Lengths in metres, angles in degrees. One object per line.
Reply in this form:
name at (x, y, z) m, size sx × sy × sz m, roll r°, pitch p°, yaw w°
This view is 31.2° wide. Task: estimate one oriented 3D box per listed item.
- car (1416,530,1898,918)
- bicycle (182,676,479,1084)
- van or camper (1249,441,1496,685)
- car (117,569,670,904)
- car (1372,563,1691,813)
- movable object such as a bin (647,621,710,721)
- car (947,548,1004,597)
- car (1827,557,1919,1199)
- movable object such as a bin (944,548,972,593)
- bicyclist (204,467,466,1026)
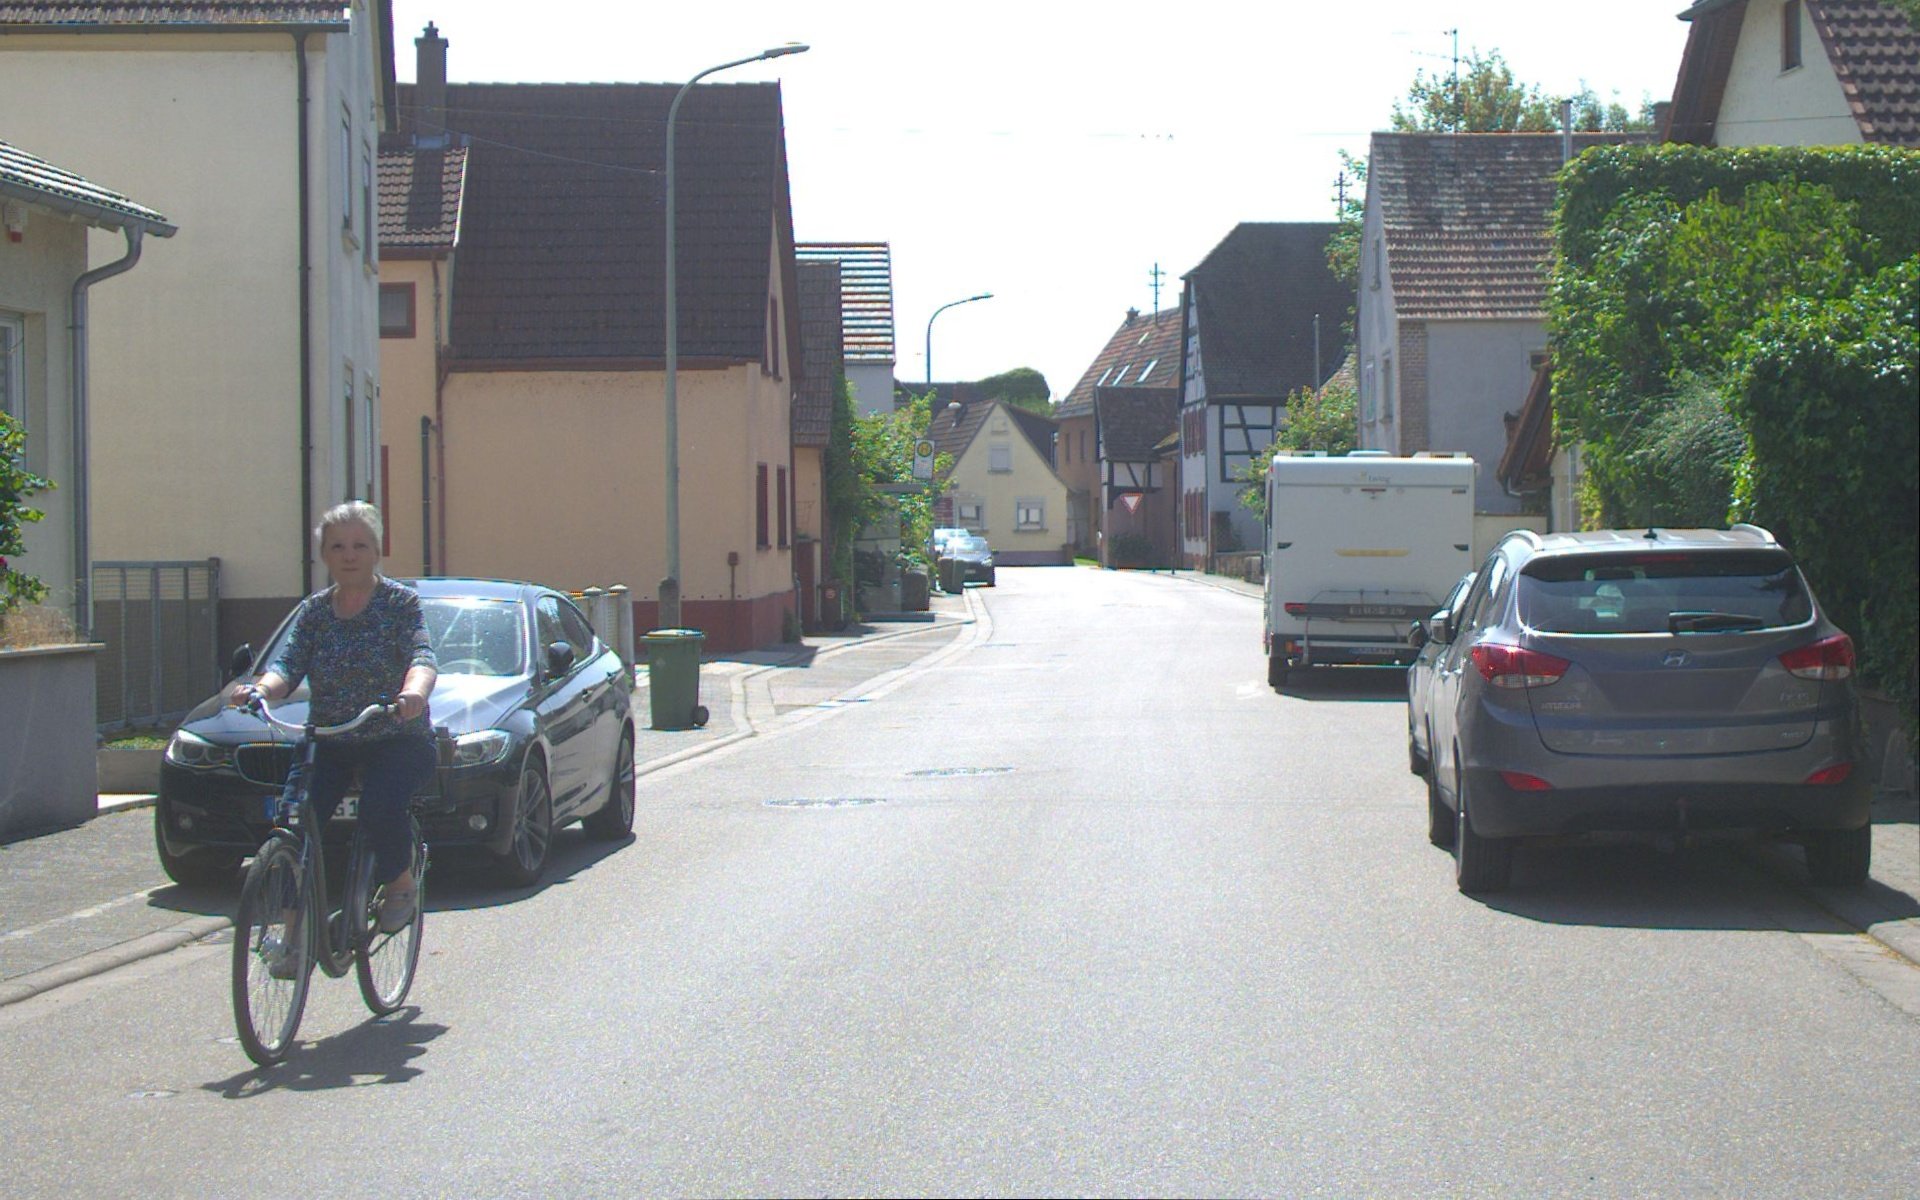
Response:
car at (3.252, 0.490, 16.824) m, size 1.794 × 1.625 × 4.360 m, roll -1°, pitch 1°, yaw 5°
bicycle at (-2.033, 0.865, 11.329) m, size 0.589 × 1.144 × 1.949 m, roll -2°, pitch 1°, yaw 0°
van or camper at (4.789, -0.441, 40.589) m, size 2.522 × 2.687 × 4.555 m, roll -1°, pitch 1°, yaw 3°
car at (-2.833, 0.615, 18.319) m, size 1.844 × 1.521 × 4.765 m, roll 0°, pitch 1°, yaw 4°
car at (3.695, 0.515, 22.827) m, size 1.712 × 1.459 × 4.064 m, roll -1°, pitch 1°, yaw 5°
movable object such as a bin at (-2.741, 0.687, 33.469) m, size 0.539 × 0.946 × 0.553 m, roll 0°, pitch 1°, yaw 3°
car at (0.477, -0.854, 104.405) m, size 1.512 × 1.431 × 3.511 m, roll -1°, pitch 1°, yaw 3°
car at (2.849, 0.674, 5.683) m, size 1.819 × 1.503 × 4.581 m, roll -1°, pitch 1°, yaw 2°
movable object such as a bin at (-0.046, -0.782, 91.957) m, size 0.688 × 1.181 × 0.714 m, roll -1°, pitch 1°, yaw 3°
bicyclist at (-2.033, 0.463, 11.252) m, size 0.703 × 1.765 × 0.625 m, roll -1°, pitch 1°, yaw 0°
